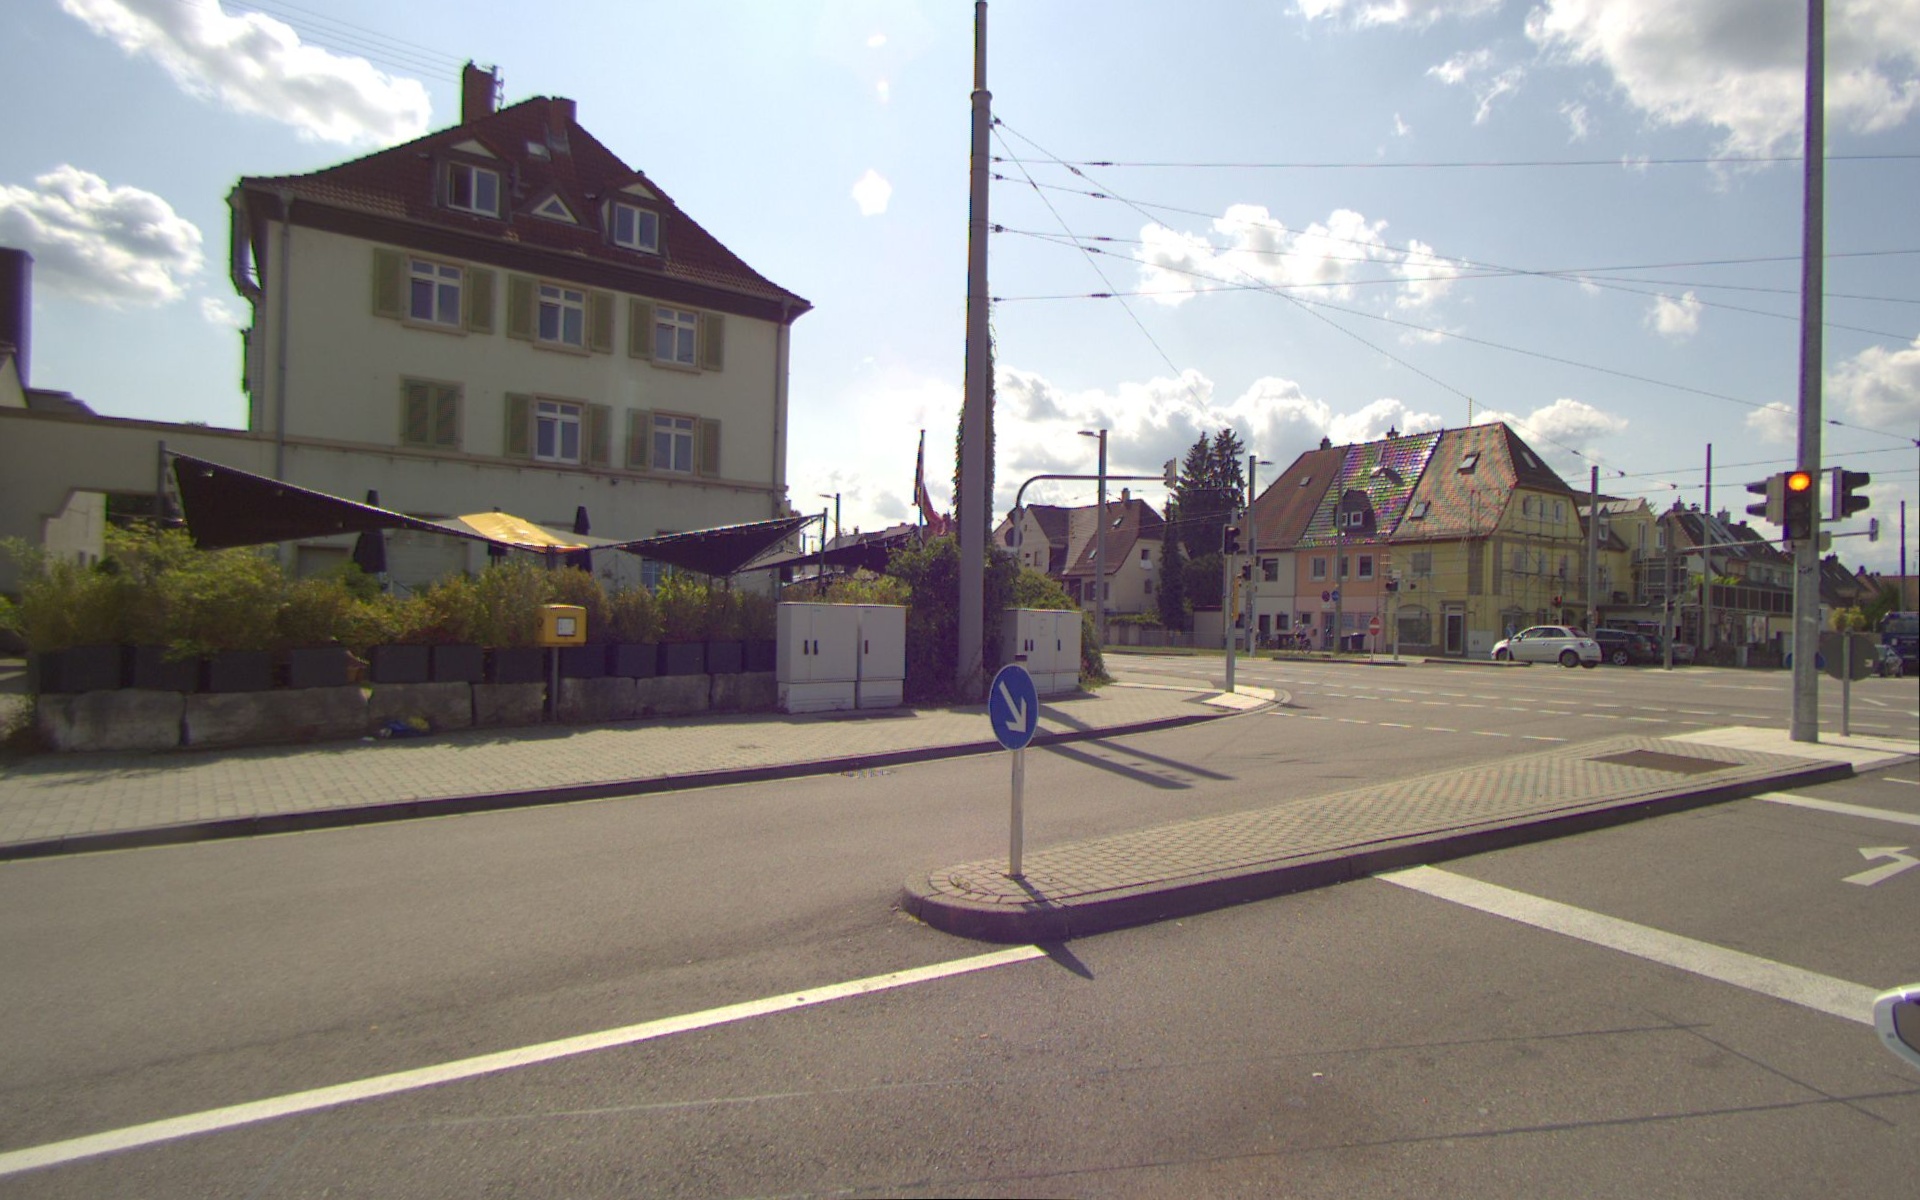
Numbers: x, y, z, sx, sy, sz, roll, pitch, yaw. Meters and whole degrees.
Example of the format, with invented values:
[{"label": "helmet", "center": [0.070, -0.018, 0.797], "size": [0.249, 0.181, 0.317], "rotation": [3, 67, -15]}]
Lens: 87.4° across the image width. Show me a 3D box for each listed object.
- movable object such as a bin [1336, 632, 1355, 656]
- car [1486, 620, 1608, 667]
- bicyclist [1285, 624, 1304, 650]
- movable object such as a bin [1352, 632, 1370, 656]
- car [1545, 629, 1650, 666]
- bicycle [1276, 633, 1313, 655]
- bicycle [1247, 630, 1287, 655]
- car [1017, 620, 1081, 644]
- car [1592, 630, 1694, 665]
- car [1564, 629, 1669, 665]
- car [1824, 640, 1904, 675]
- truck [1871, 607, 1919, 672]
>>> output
[{"label": "movable object such as a bin", "center": [20.888, 2.376, 54.460], "size": [0.674, 1.277, 0.677], "rotation": [2, 0, -33]}, {"label": "car", "center": [21.466, 1.552, 36.824], "size": [1.569, 1.528, 3.517], "rotation": [2, 0, -34]}, {"label": "bicyclist", "center": [17.977, 1.981, 53.986], "size": [0.571, 1.416, 0.718], "rotation": [1, -1, -33]}, {"label": "movable object such as a bin", "center": [22.015, 2.414, 55.148], "size": [0.674, 1.277, 0.677], "rotation": [2, 0, -33]}, {"label": "car", "center": [30.735, 2.247, 48.552], "size": [1.168, 1.513, 4.103], "rotation": [2, 0, -37]}, {"label": "bicycle", "center": [17.957, 2.354, 53.989], "size": [0.687, 1.092, 1.888], "rotation": [1, -1, -33]}, {"label": "bicycle", "center": [18.048, 2.496, 59.077], "size": [2.428, 1.374, 0.770], "rotation": [2, 0, -29]}, {"label": "car", "center": [5.427, 1.947, 61.587], "size": [1.902, 1.372, 3.965], "rotation": [1, -1, -32]}, {"label": "car", "center": [35.083, 2.428, 51.685], "size": [1.422, 1.513, 4.103], "rotation": [2, 0, -37]}, {"label": "car", "center": [32.794, 2.315, 50.292], "size": [1.493, 1.513, 4.103], "rotation": [2, 0, -37]}, {"label": "car", "center": [41.578, 2.632, 46.175], "size": [4.291, 1.506, 1.816], "rotation": [3, -2, -35]}, {"label": "truck", "center": [50.839, 2.142, 53.145], "size": [7.516, 3.230, 2.747], "rotation": [3, -2, -38]}]
